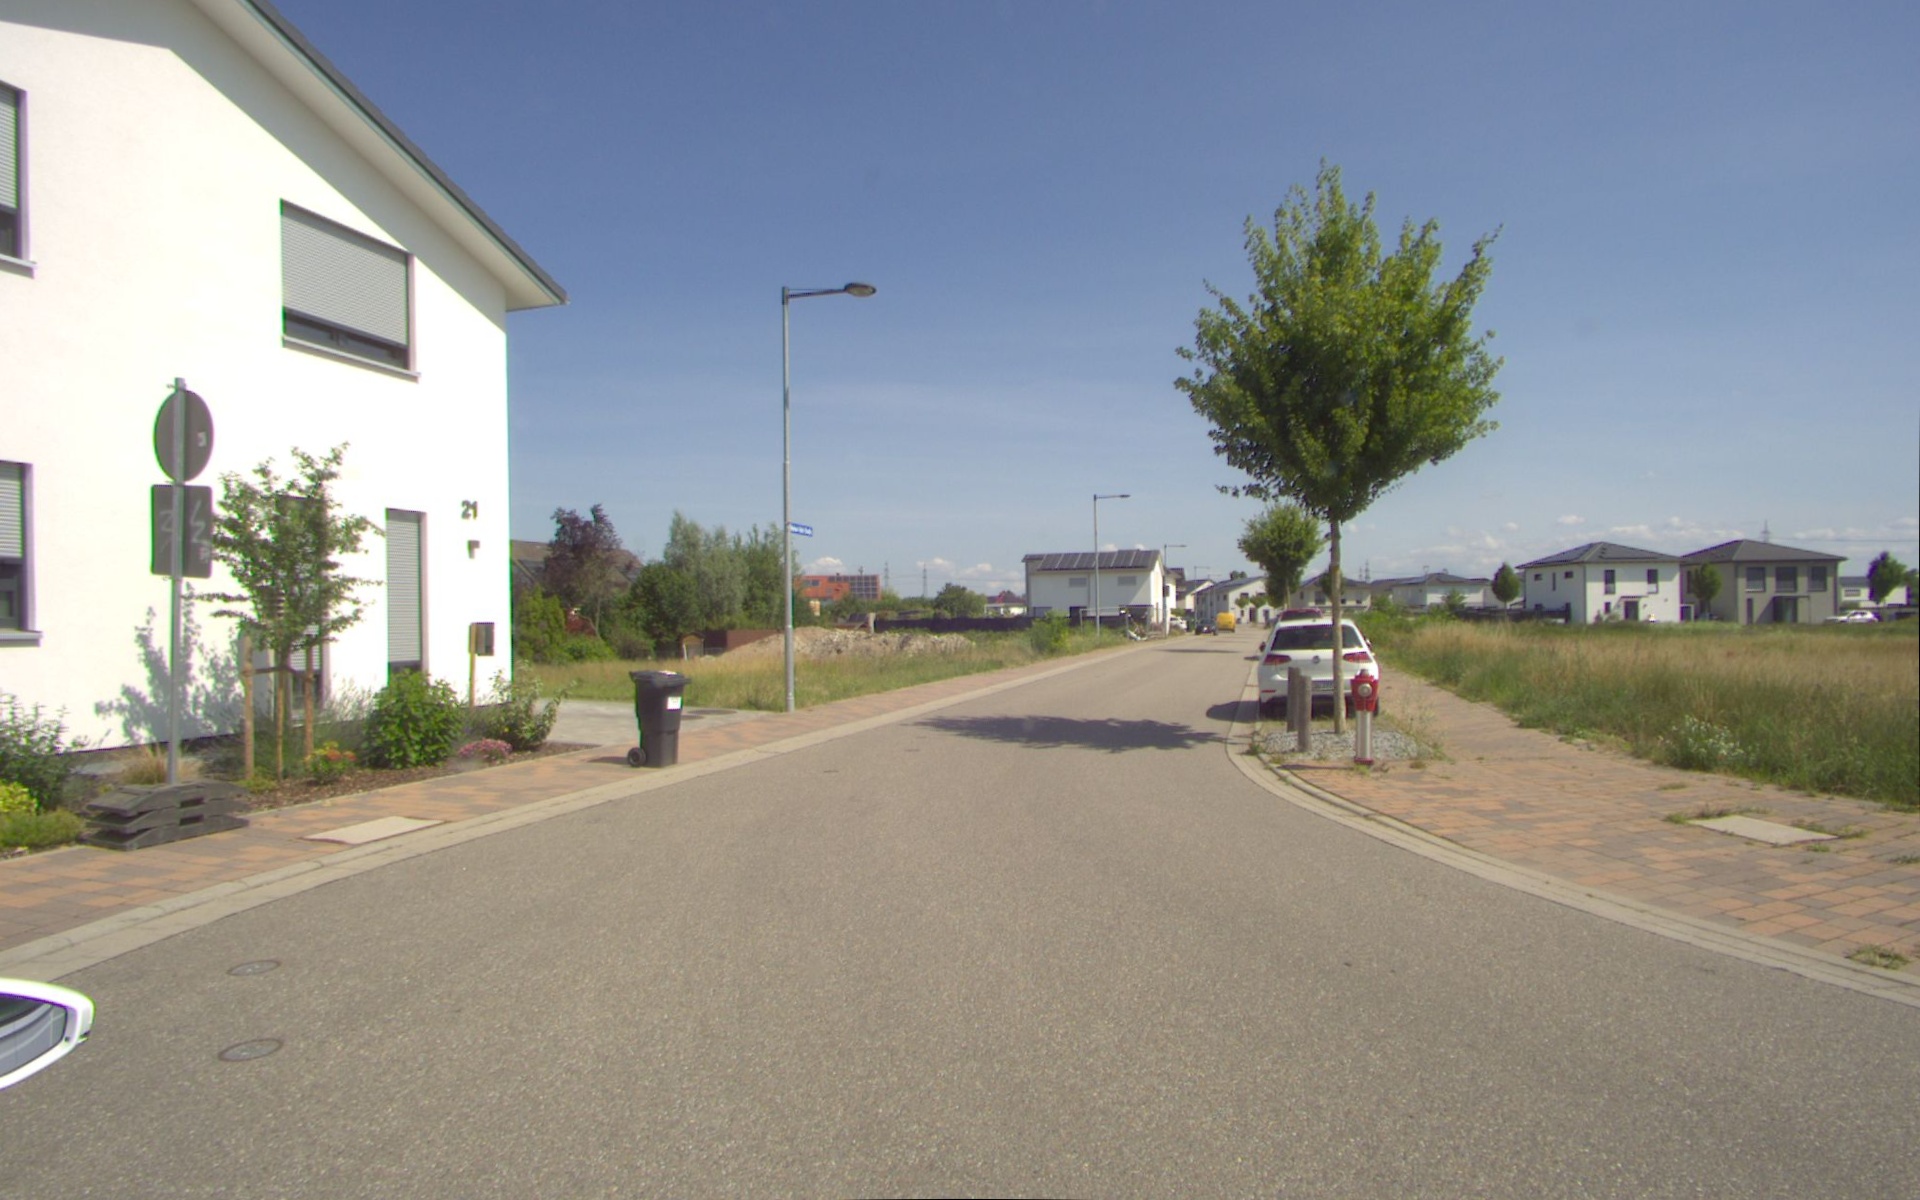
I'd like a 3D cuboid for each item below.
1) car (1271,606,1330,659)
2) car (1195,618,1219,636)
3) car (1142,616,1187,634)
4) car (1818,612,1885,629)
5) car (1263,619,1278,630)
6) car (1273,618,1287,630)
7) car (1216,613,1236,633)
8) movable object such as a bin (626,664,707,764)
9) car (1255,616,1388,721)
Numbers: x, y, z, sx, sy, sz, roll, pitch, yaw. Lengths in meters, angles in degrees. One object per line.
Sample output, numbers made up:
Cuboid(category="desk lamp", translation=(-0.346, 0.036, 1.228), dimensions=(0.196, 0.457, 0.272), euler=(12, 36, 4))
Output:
Cuboid(category="car", translation=(11.822, 1.094, 34.968), dimensions=(1.751, 1.685, 4.427), euler=(-2, -1, 17))
Cuboid(category="car", translation=(21.310, 2.328, 86.374), dimensions=(1.719, 1.423, 4.154), euler=(2, 0, 17))
Cuboid(category="car", translation=(20.010, 2.420, 97.916), dimensions=(4.013, 1.602, 1.779), euler=(1, 0, 24))
Cuboid(category="car", translation=(75.707, 1.761, 85.068), dimensions=(3.922, 1.416, 1.751), euler=(0, -2, 4))
Cuboid(category="car", translation=(43.665, 3.469, 140.896), dimensions=(1.602, 1.338, 3.835), euler=(0, -3, 11))
Cuboid(category="car", translation=(39.233, 2.964, 122.787), dimensions=(1.615, 1.420, 3.808), euler=(-1, -3, 16))
Cuboid(category="car", translation=(27.947, 2.459, 105.422), dimensions=(1.911, 2.006, 4.215), euler=(-1, -2, 14))
Cuboid(category="movable object such as a bin", translation=(-2.945, 1.129, 10.058), dimensions=(0.613, 0.960, 0.500), euler=(0, -1, 13))
Cuboid(category="car", translation=(5.829, 1.038, 16.419), dimensions=(1.750, 1.438, 4.159), euler=(-3, -1, 18))
